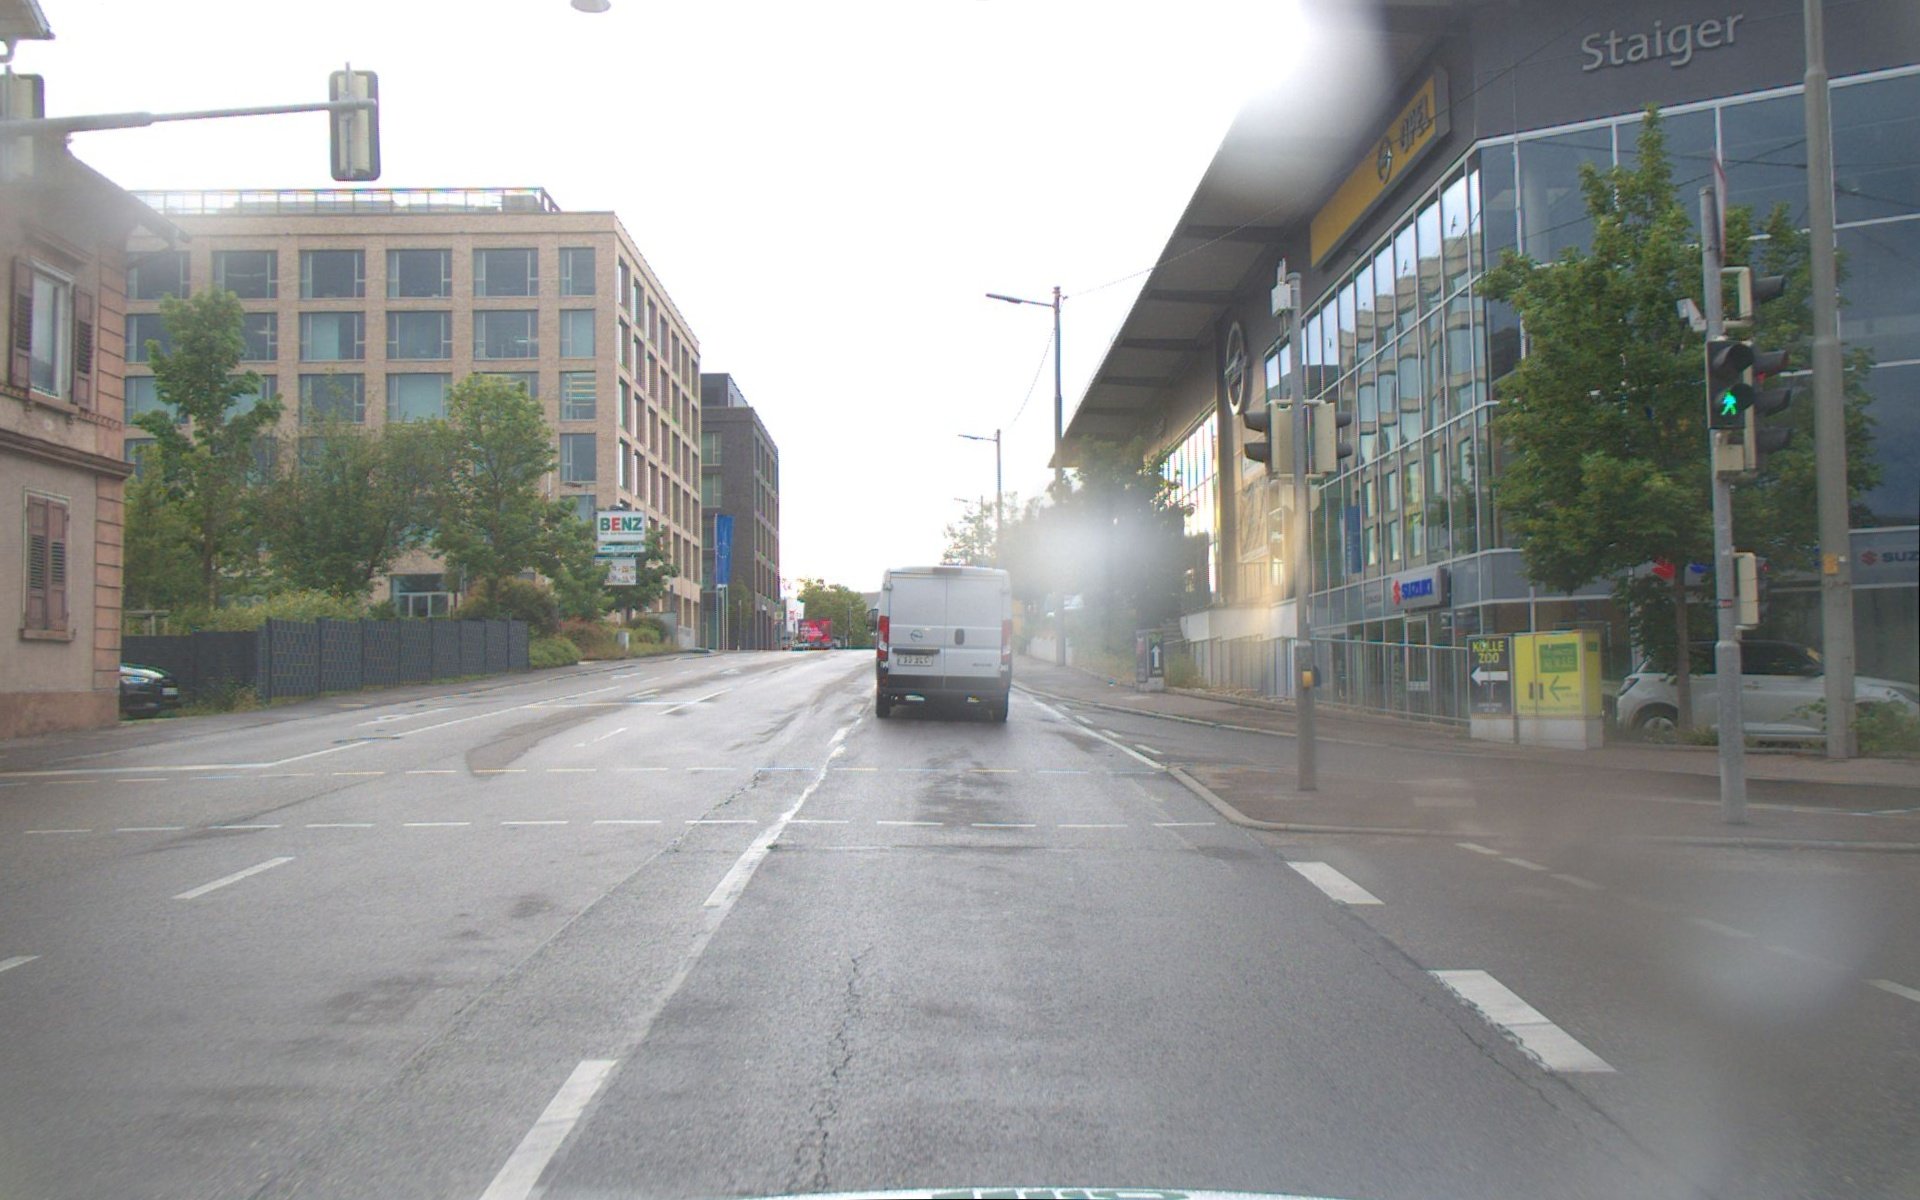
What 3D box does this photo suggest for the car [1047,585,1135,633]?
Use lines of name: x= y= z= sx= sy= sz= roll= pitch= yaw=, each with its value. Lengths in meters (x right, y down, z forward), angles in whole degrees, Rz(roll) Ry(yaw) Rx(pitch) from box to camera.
car: x=5.156 y=0.382 z=64.543 sx=1.954 sy=1.741 sz=4.425 roll=-3 pitch=-3 yaw=25

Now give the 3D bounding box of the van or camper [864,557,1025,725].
van or camper: x=-0.238 y=0.636 z=26.232 sx=2.292 sy=2.398 sz=5.198 roll=0 pitch=-1 yaw=0

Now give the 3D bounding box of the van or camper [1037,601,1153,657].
van or camper: x=6.783 y=1.465 z=83.362 sx=5.620 sy=2.772 sz=2.351 roll=0 pitch=-1 yaw=-2

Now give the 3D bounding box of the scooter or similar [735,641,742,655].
scooter or similar: x=-17.685 y=3.843 z=131.985 sx=0.343 sy=1.090 sz=1.428 roll=0 pitch=-3 yaw=0

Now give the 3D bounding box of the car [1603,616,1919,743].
car: x=10.572 y=1.072 z=21.541 sx=3.909 sy=1.535 sz=1.896 roll=-2 pitch=-5 yaw=27

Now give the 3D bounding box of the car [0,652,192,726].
car: x=-15.106 y=1.458 z=27.477 sx=3.909 sy=1.183 sz=1.605 roll=0 pitch=-1 yaw=-6
